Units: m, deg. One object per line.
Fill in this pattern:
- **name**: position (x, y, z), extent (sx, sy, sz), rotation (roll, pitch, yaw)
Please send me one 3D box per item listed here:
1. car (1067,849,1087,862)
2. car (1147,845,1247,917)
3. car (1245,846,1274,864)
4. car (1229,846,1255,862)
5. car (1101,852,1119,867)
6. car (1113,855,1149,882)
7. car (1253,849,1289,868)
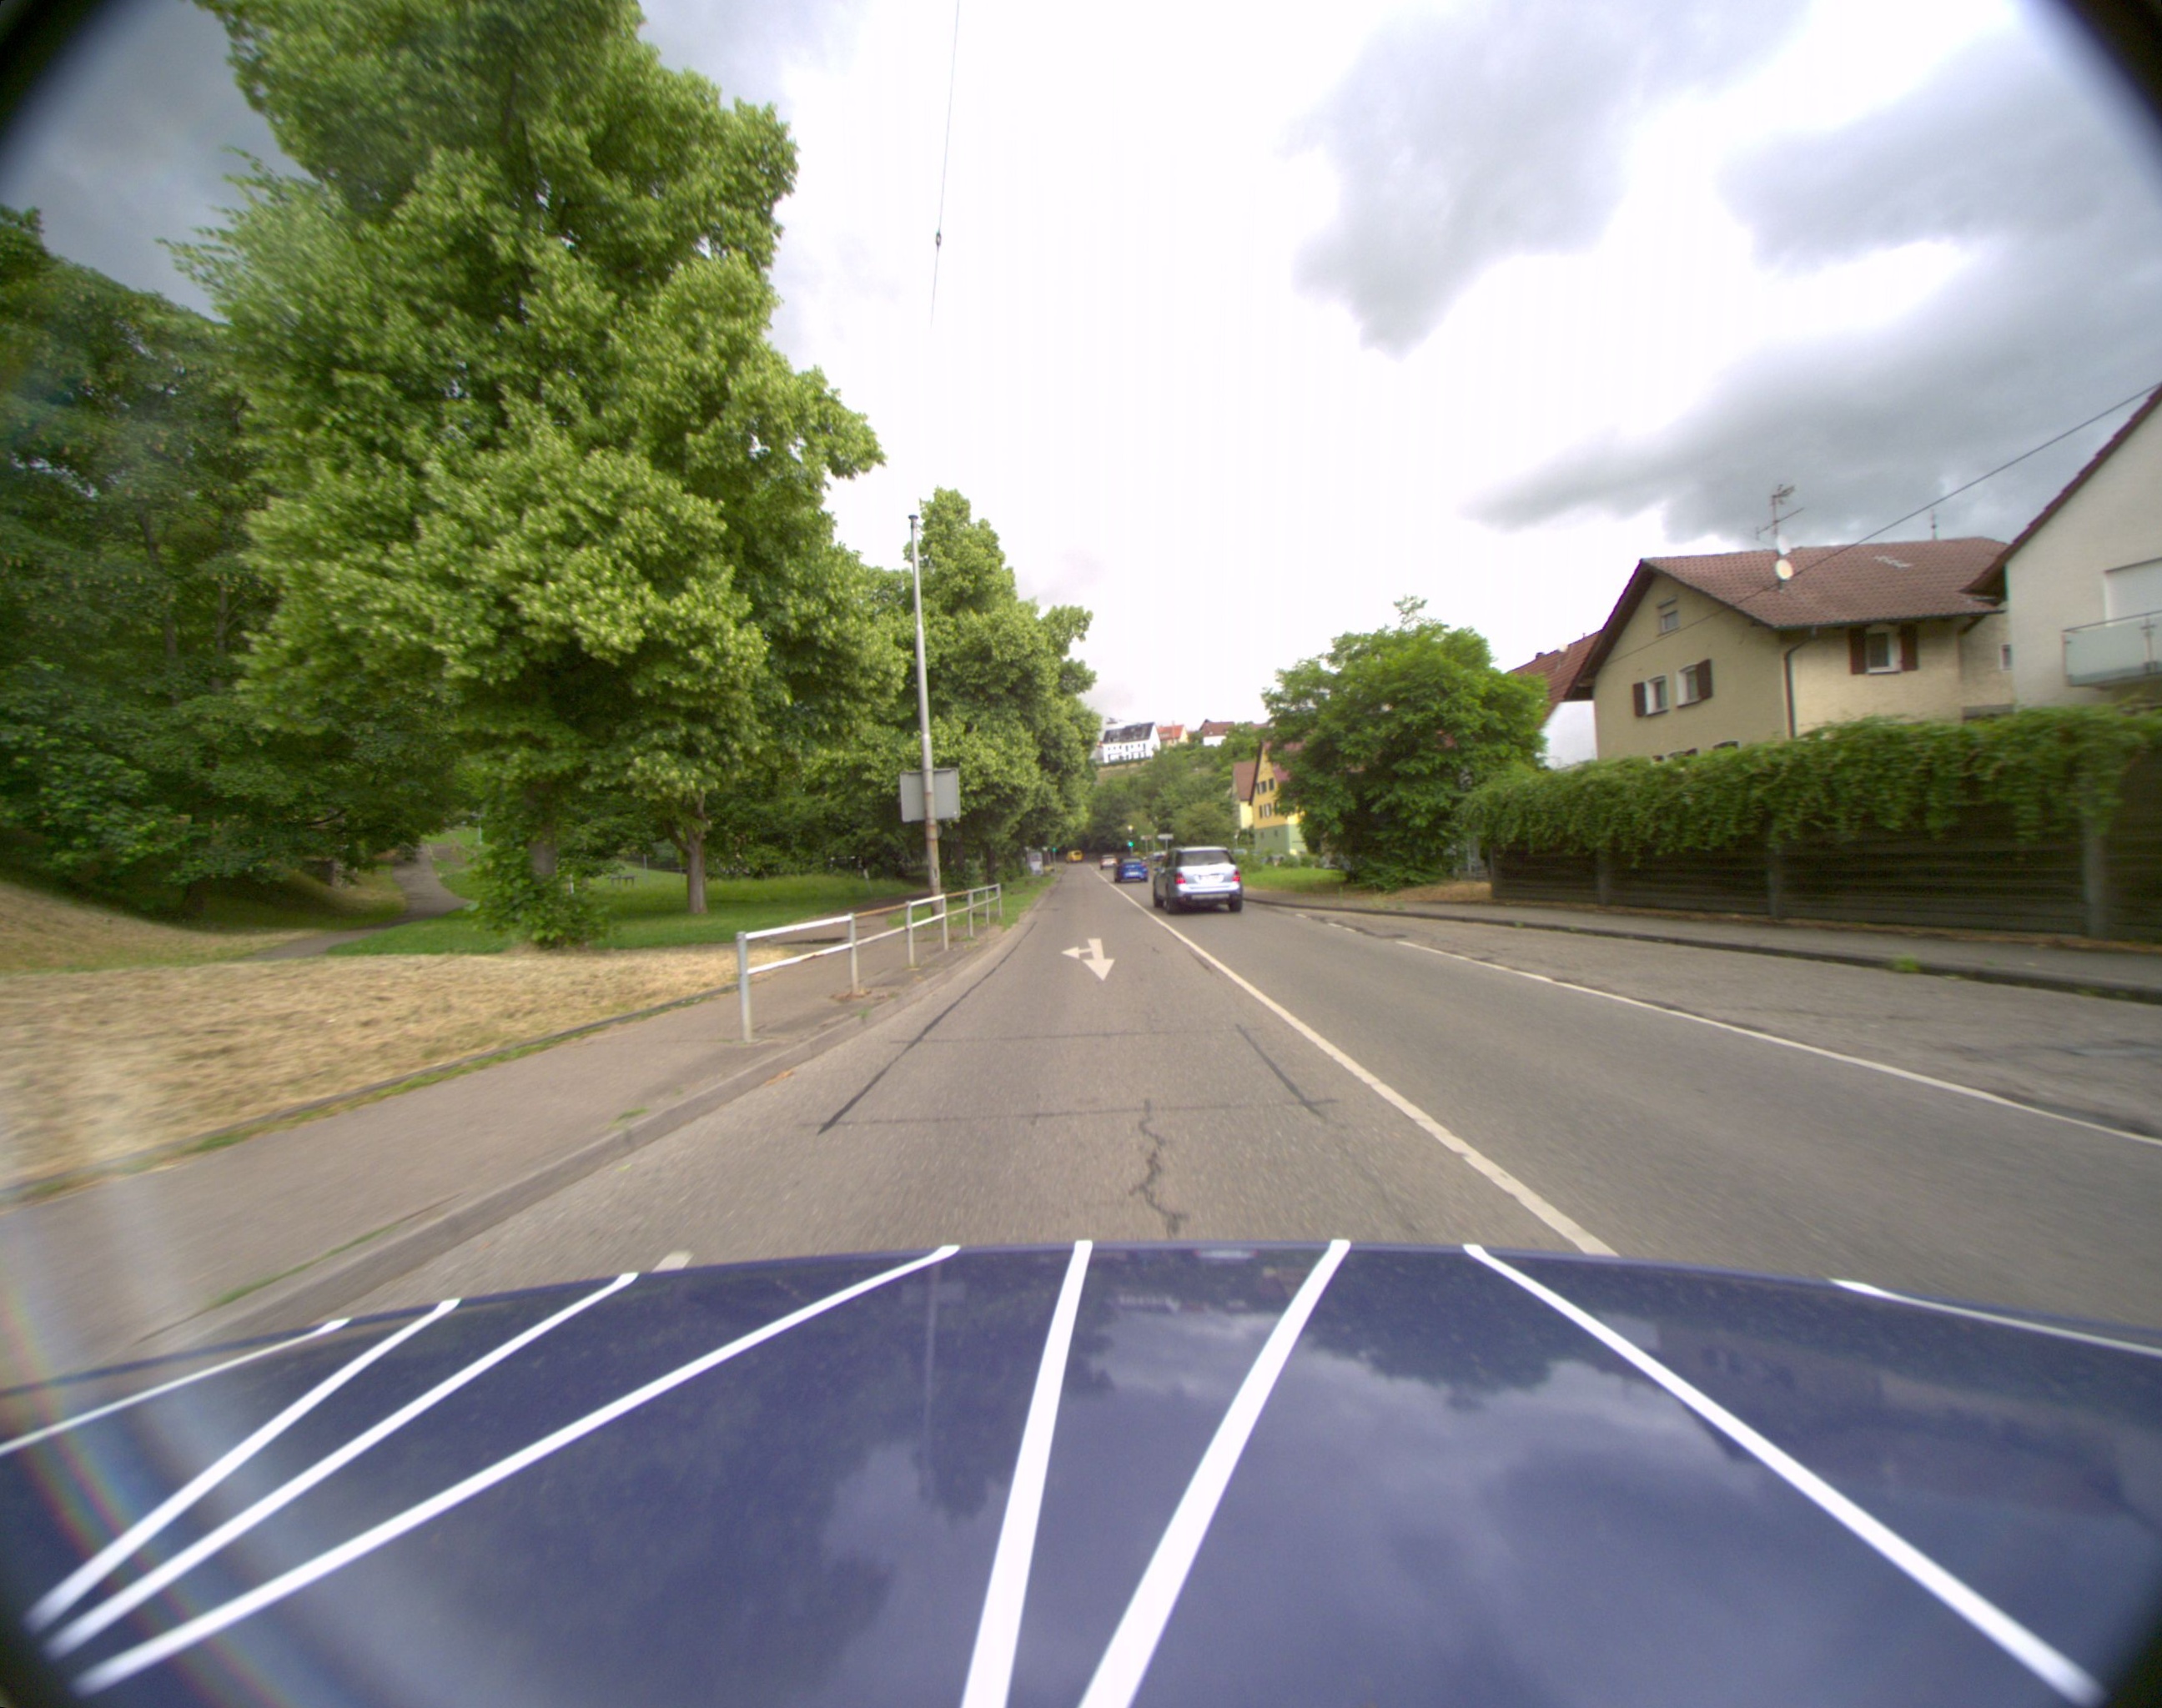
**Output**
- **car**: position (-0.734, 0.264, 130.243), extent (1.853, 1.919, 4.761), rotation (-4, 0, -20)
- **car**: position (3.063, 0.666, 21.081), extent (1.940, 1.714, 4.691), rotation (-2, 0, -1)
- **car**: position (16.100, 0.079, 68.793), extent (1.816, 1.608, 4.000), rotation (-2, 0, 3)
- **car**: position (17.113, -0.020, 80.909), extent (1.998, 1.608, 4.448), rotation (-2, 0, 2)
- **car**: position (3.072, 0.580, 81.649), extent (1.709, 1.503, 4.000), rotation (-2, 0, 0)
- **car**: position (2.932, 0.820, 44.896), extent (1.720, 1.460, 4.099), rotation (-2, 0, -1)
- **car**: position (14.011, 0.297, 56.199), extent (1.998, 1.269, 4.001), rotation (-2, 0, 6)
